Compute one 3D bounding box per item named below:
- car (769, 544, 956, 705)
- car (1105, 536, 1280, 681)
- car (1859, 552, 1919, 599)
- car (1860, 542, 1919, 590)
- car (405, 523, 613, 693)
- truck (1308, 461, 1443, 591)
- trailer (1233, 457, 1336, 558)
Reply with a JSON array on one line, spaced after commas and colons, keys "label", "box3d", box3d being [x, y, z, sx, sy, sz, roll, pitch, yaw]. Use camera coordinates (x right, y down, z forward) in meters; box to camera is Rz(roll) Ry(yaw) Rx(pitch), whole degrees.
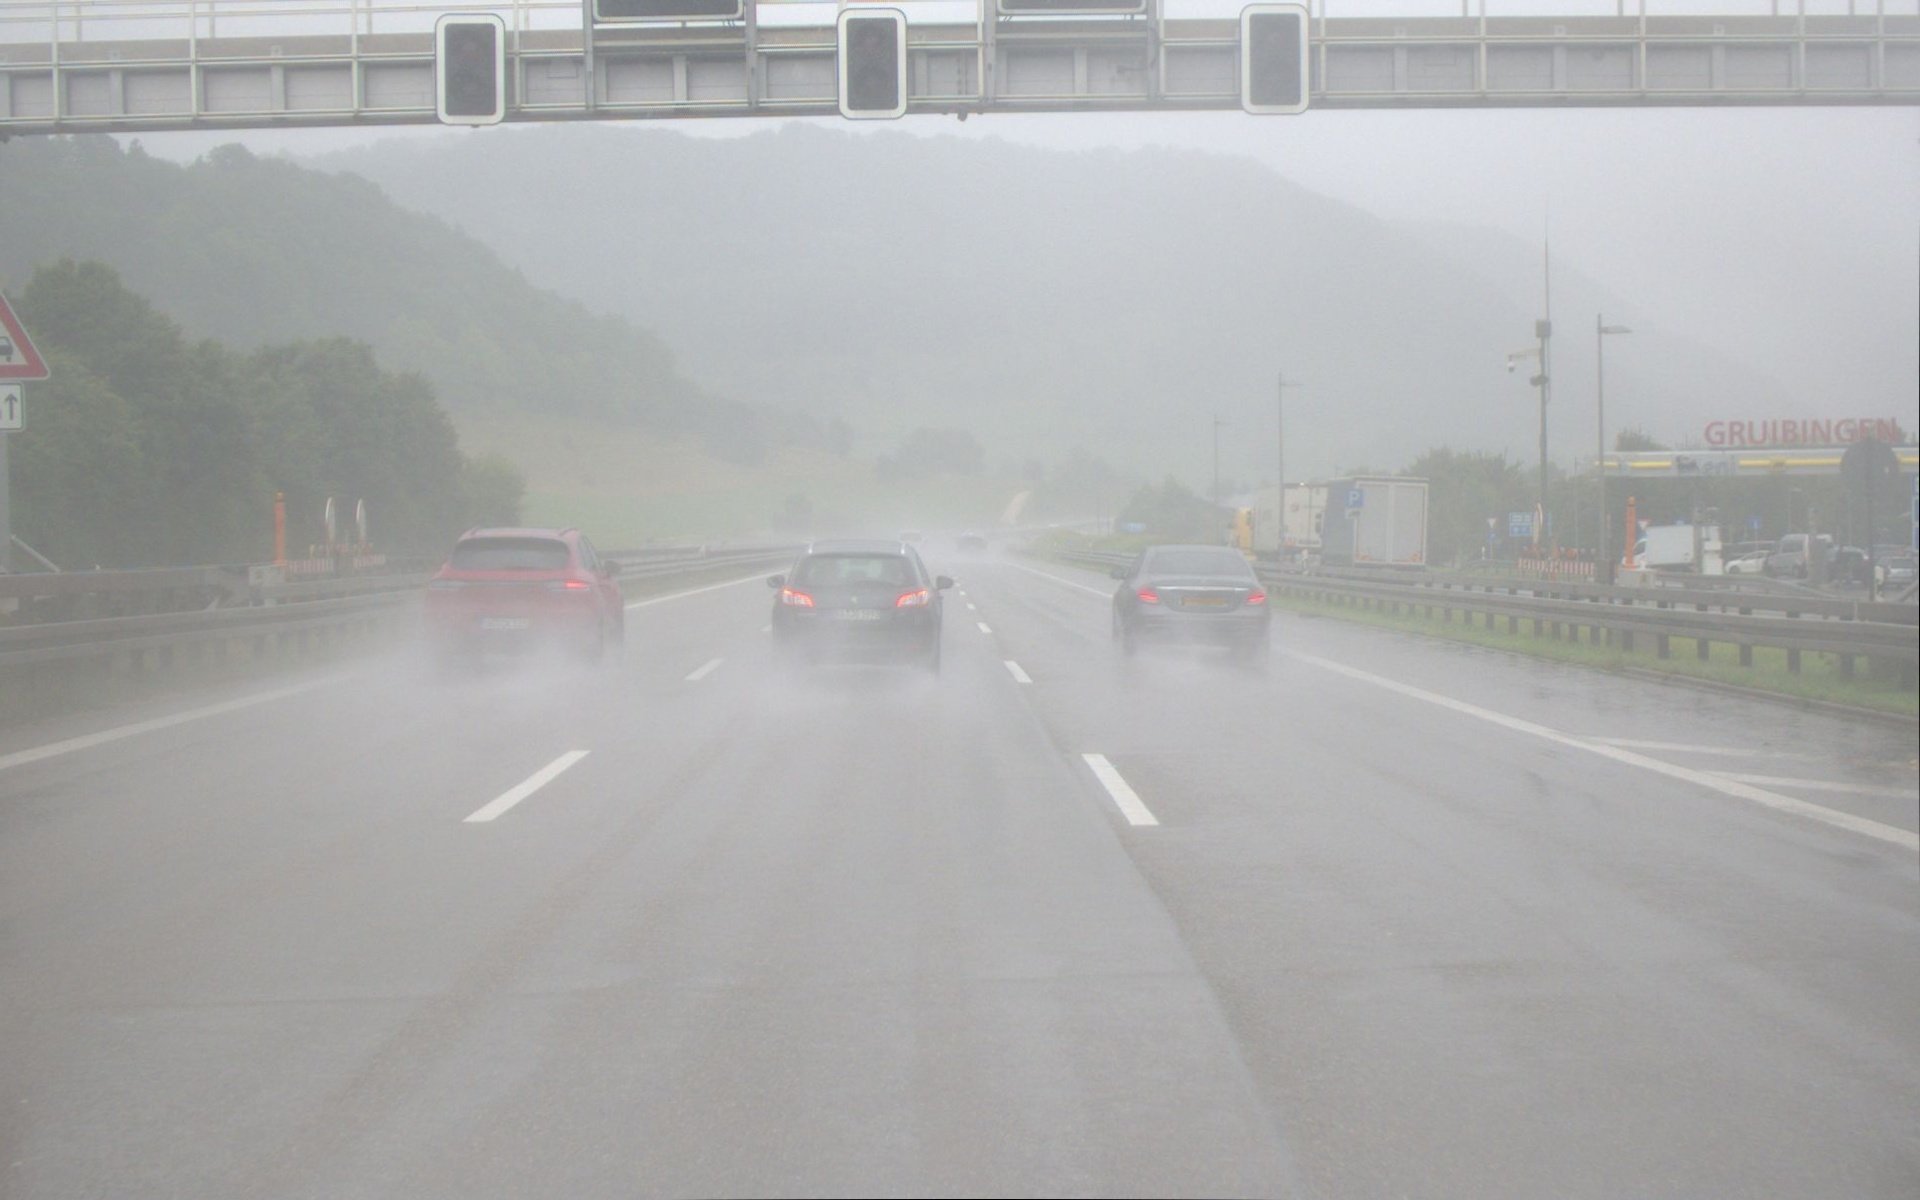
[{"label": "car", "box3d": [-0.993, 0.222, 36.857, 1.859, 1.584, 4.000, 1, 1, 0]}, {"label": "car", "box3d": [2.966, 0.067, 44.581, 1.971, 1.754, 4.000, 1, 1, 0]}, {"label": "car", "box3d": [41.662, -1.100, 153.449, 1.960, 2.007, 4.000, 1, 1, 0]}, {"label": "car", "box3d": [43.811, -1.590, 160.737, 2.081, 2.174, 4.893, 1, 1, -1]}, {"label": "car", "box3d": [-5.010, 0.043, 38.684, 1.884, 1.809, 4.000, 0, 1, -1]}, {"label": "truck", "box3d": [14.876, -2.660, 123.904, 3.401, 4.387, 11.049, 2, 1, 0]}, {"label": "trailer", "box3d": [14.437, -4.070, 153.855, 3.516, 4.247, 11.920, 1, 1, 1]}]
